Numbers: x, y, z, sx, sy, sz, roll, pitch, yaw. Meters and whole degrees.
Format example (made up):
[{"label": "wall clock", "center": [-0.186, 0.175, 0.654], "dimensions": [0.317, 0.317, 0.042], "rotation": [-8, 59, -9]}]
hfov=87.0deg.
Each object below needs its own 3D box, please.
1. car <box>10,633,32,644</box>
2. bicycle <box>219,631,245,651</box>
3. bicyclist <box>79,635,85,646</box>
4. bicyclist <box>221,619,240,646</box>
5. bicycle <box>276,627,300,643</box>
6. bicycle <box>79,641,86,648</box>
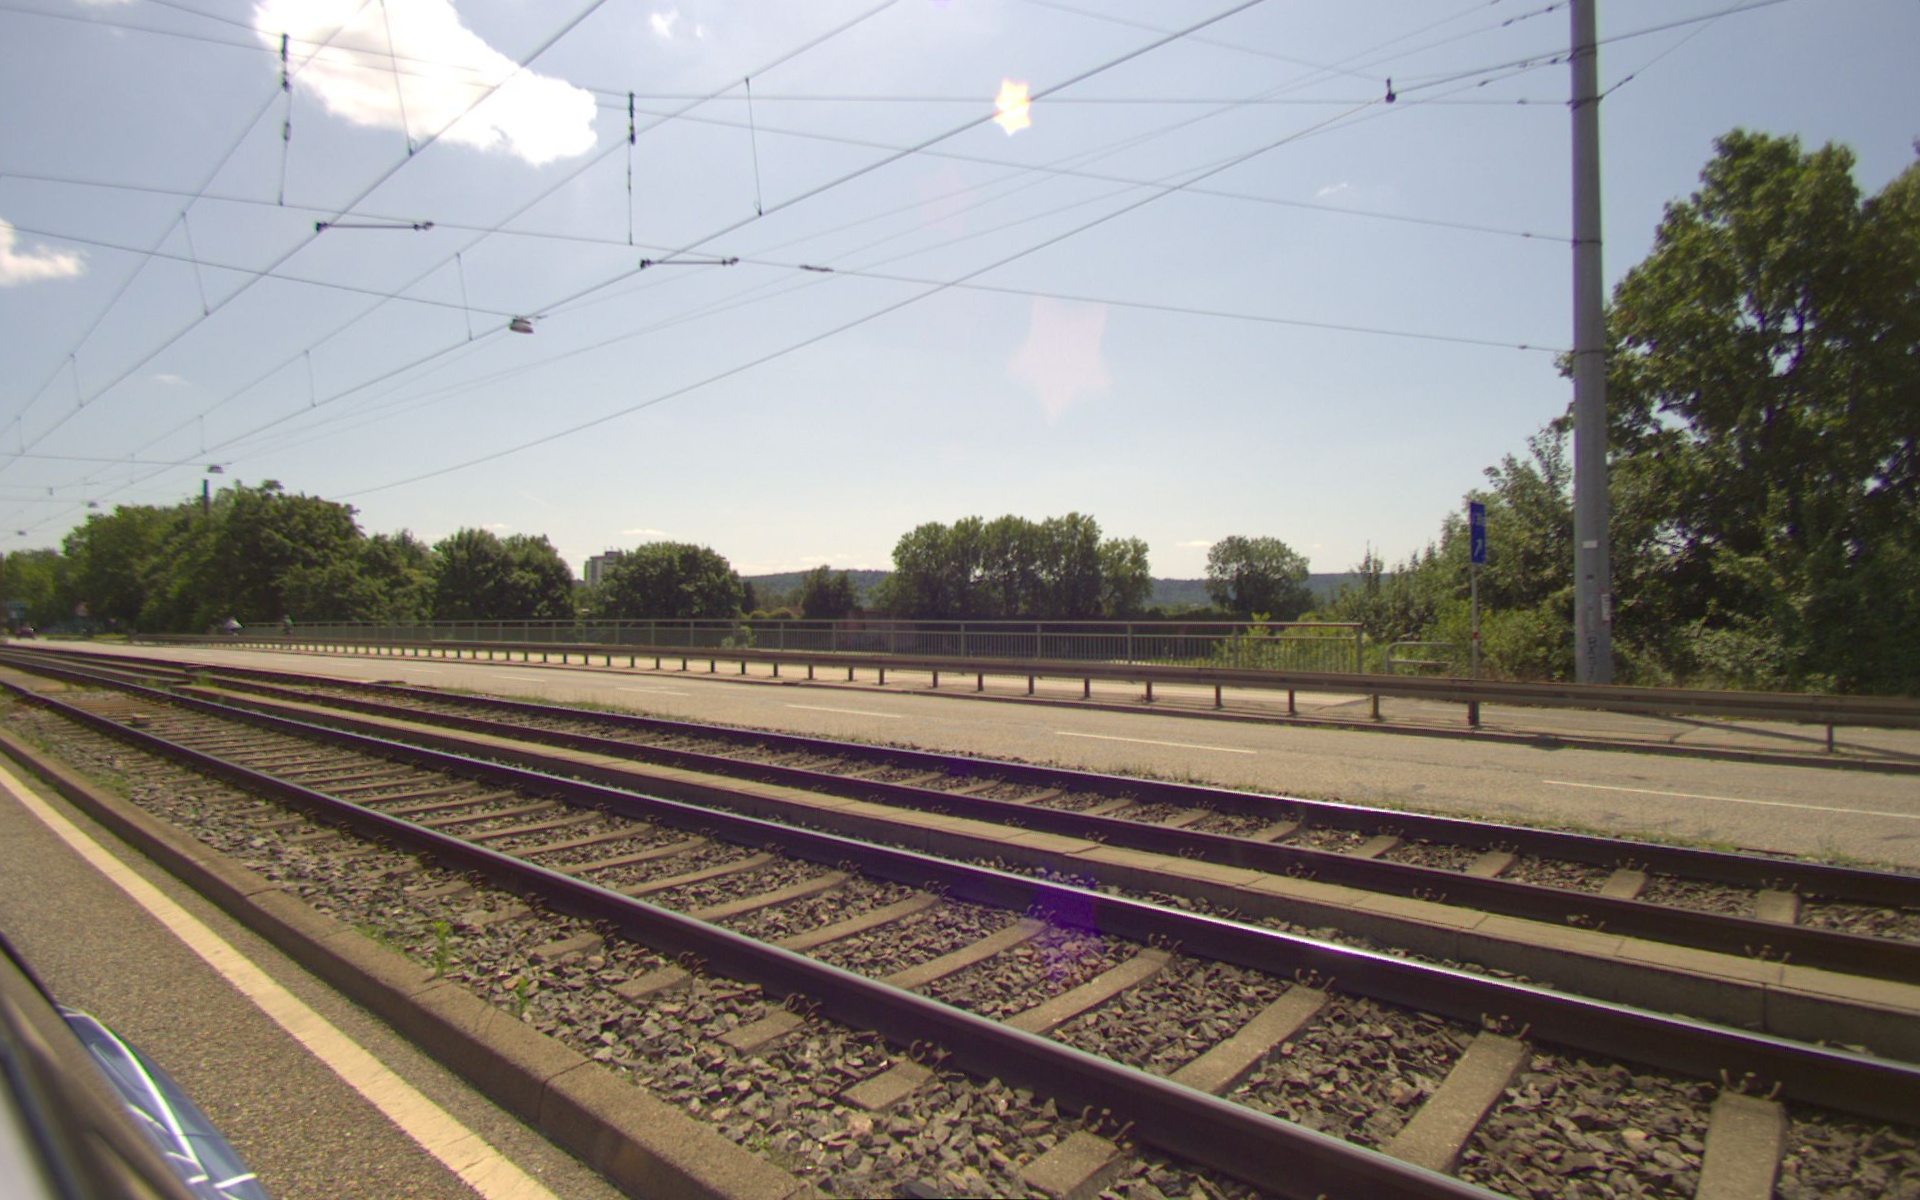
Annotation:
[{"label": "car", "center": [-114.044, 4.685, 122.941], "dimensions": [3.927, 1.357, 1.547], "rotation": [-1, -3, 41]}, {"label": "bicycle", "center": [-45.003, 2.548, 62.541], "dimensions": [2.061, 1.194, 0.848], "rotation": [-1, -1, 41]}, {"label": "bicyclist", "center": [-116.187, 5.342, 133.970], "dimensions": [0.562, 1.378, 0.632], "rotation": [-1, 0, -43]}, {"label": "bicyclist", "center": [-45.111, 1.978, 62.586], "dimensions": [0.837, 1.634, 0.755], "rotation": [-2, -1, 41]}, {"label": "bicycle", "center": [-36.138, 1.887, 54.434], "dimensions": [2.034, 0.849, 0.517], "rotation": [-2, -1, 40]}, {"label": "bicycle", "center": [-116.217, 5.837, 134.010], "dimensions": [0.579, 0.825, 2.070], "rotation": [-1, 1, -44]}]
